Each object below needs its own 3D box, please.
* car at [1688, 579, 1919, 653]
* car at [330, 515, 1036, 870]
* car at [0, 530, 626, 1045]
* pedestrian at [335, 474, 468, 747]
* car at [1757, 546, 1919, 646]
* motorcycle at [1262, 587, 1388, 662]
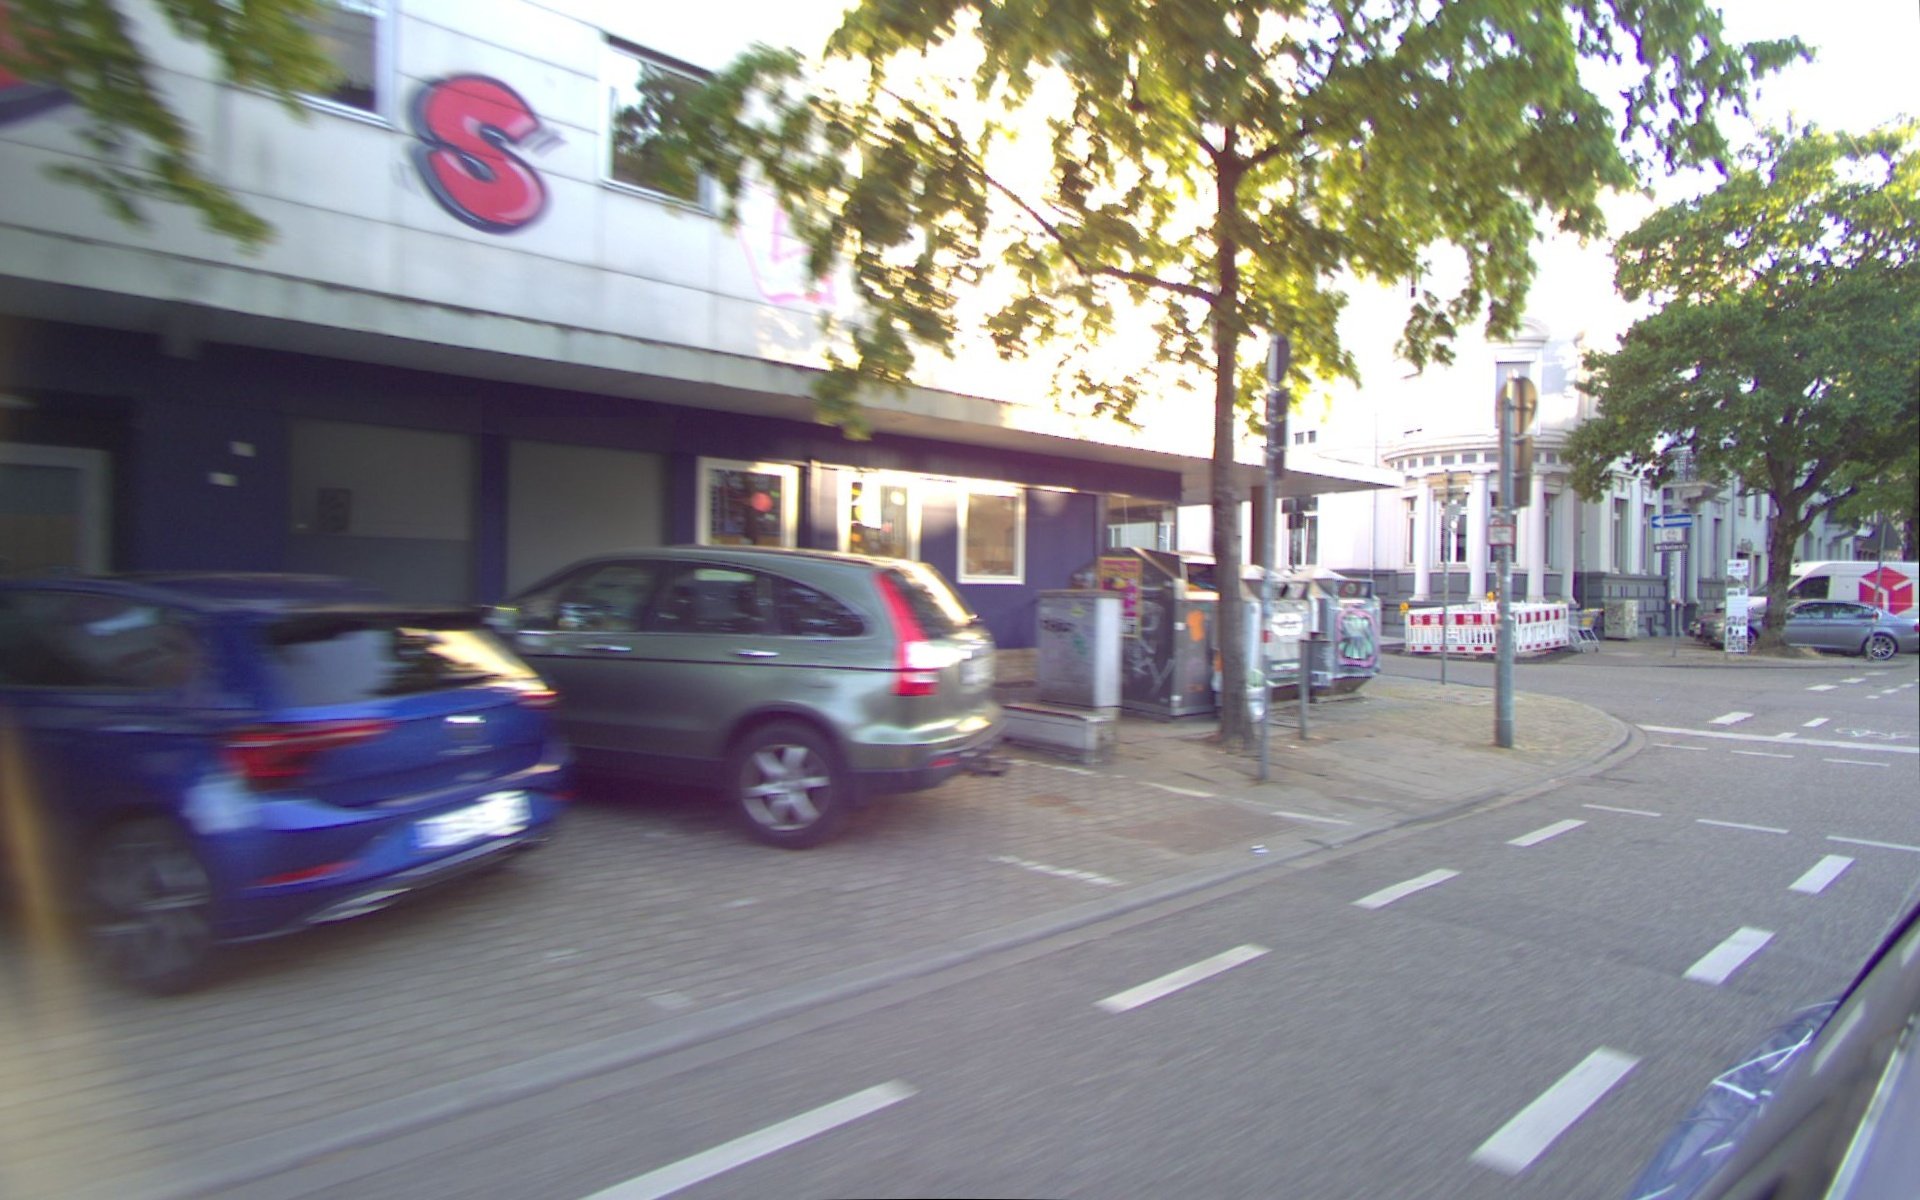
[{"bbox_3d":[21.239,0.370,25.298,4.559,1.532,1.847,4,2,24],"label":"car"},{"bbox_3d":[-1.728,0.395,6.650,4.110,1.684,1.834,3,3,16],"label":"car"},{"bbox_3d":[-3.723,0.497,4.679,3.846,1.520,1.802,4,3,20],"label":"car"},{"bbox_3d":[-4.381,0.057,7.931,0.772,2.009,0.693,0,3,-40],"label":"pedestrian"},{"bbox_3d":[26.627,-0.127,28.907,5.561,2.728,2.161,1,1,16],"label":"car"},{"bbox_3d":[7.452,0.459,20.758,1.265,1.422,2.099,-1,1,-33],"label":"motorcycle"}]
